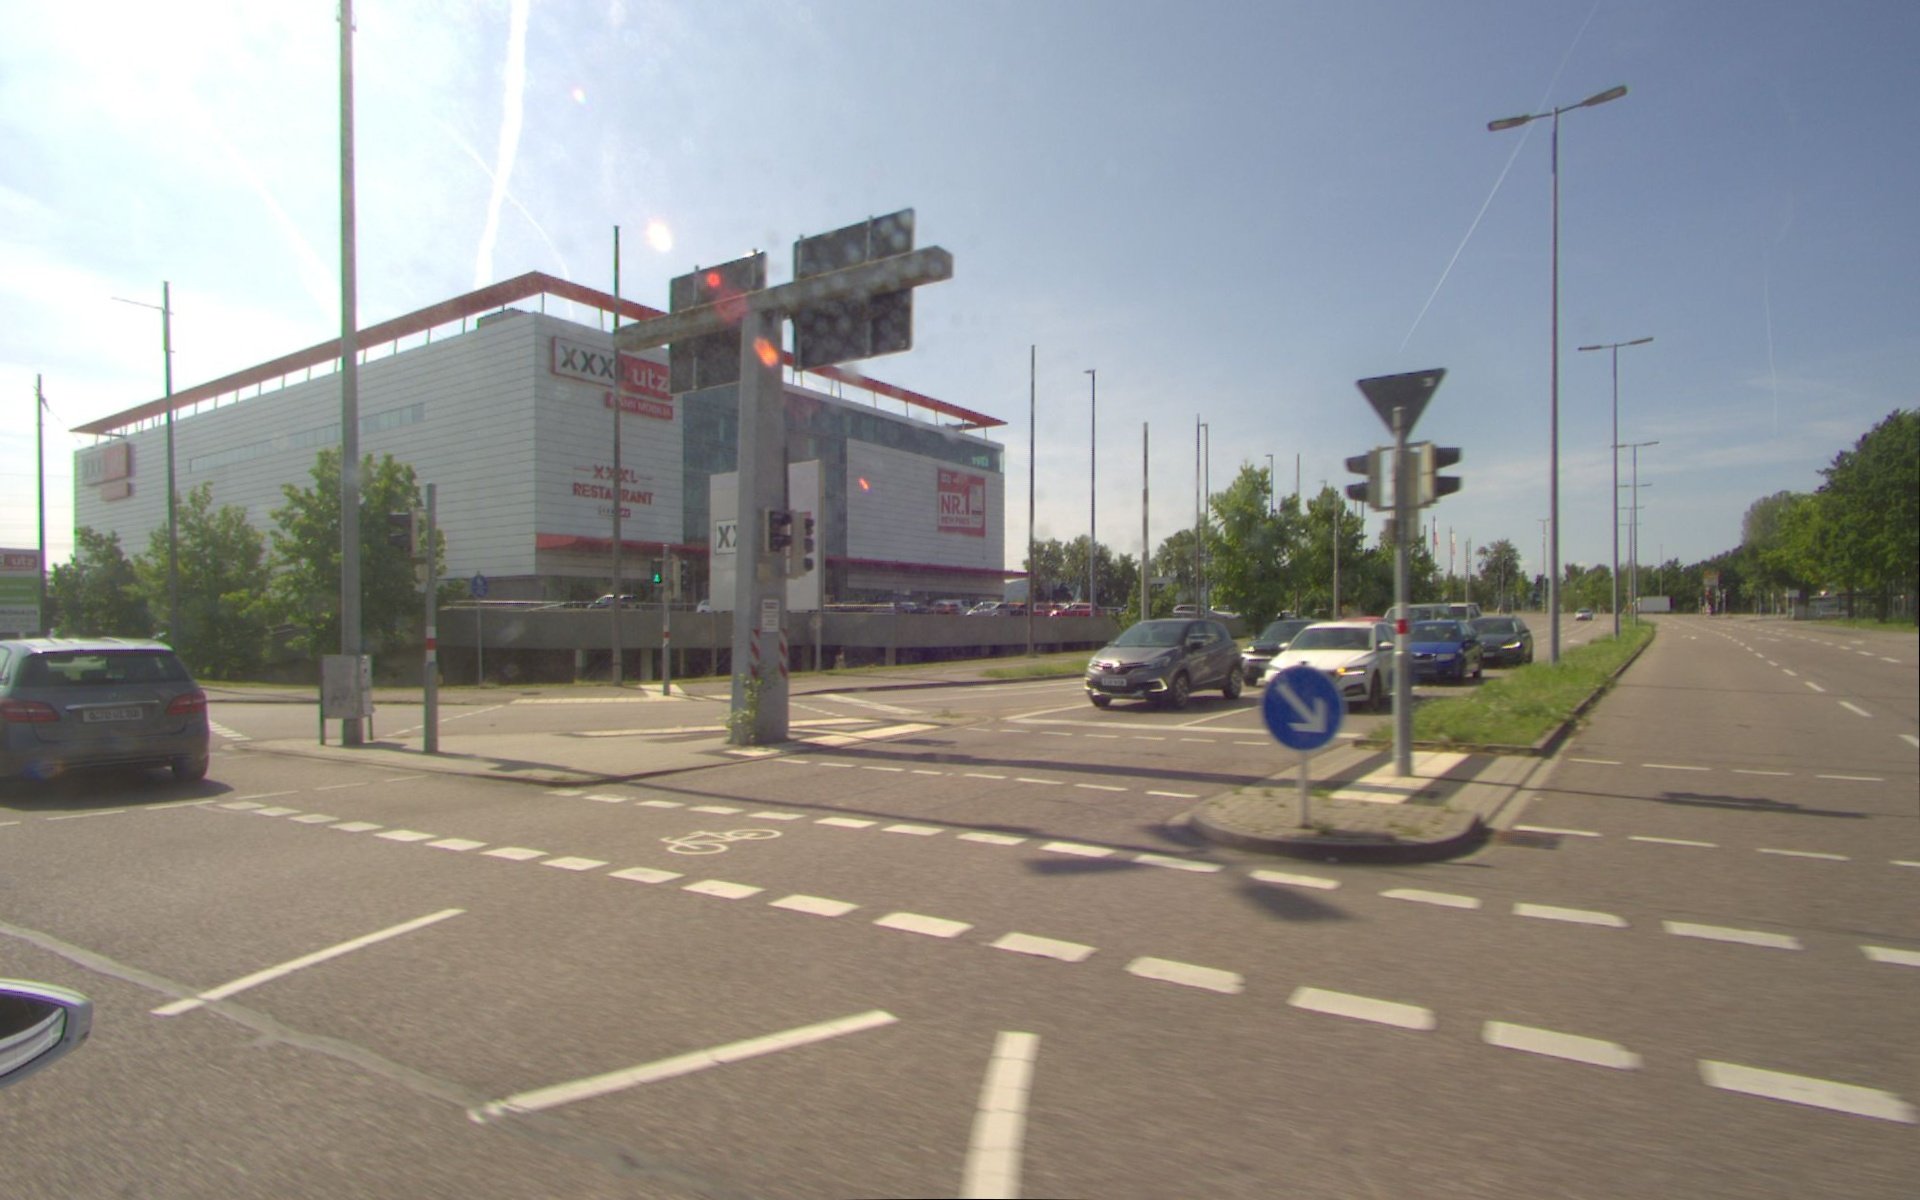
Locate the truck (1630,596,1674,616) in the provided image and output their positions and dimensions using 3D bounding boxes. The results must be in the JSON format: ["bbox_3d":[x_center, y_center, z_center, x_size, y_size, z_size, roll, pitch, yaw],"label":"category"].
[{"bbox_3d":[117.660,1.035,170.353,5.892,3.064,1.991,-2,-4,32],"label":"truck"}]

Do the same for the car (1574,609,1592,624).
[{"bbox_3d":[78.691,2.104,126.449,1.858,1.706,3.976,-1,0,33],"label":"car"}]

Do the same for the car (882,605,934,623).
[{"bbox_3d":[-4.380,1.182,83.884,4.144,1.438,1.731,-1,-1,35],"label":"car"}]

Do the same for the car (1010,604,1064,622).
[{"bbox_3d":[6.360,1.096,82.718,4.144,1.438,1.680,-1,-1,35],"label":"car"}]

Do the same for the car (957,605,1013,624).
[{"bbox_3d":[1.901,1.148,76.651,4.144,1.438,1.680,-1,-1,35],"label":"car"}]

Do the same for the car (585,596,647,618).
[{"bbox_3d":[-22.850,0.484,66.469,4.144,1.438,1.766,-1,-1,35],"label":"car"}]

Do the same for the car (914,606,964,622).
[{"bbox_3d":[-1.876,1.243,88.336,4.144,1.438,1.785,-1,-1,35],"label":"car"}]

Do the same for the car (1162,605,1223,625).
[{"bbox_3d":[17.230,1.111,74.247,4.144,1.438,1.680,-1,-1,35],"label":"car"}]

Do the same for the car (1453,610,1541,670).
[{"bbox_3d":[15.857,1.161,29.489,1.663,1.641,4.103,-1,-2,37],"label":"car"}]

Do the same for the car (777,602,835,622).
[{"bbox_3d":[-11.416,0.928,74.328,4.144,1.438,1.867,-1,-1,35],"label":"car"}]

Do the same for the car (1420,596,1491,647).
[{"bbox_3d":[20.720,0.927,41.768,1.889,1.960,4.761,-2,-2,35],"label":"car"}]

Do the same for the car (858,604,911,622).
[{"bbox_3d":[-6.211,1.106,82.062,4.143,1.438,1.800,-1,-1,35],"label":"car"}]

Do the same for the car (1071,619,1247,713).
[{"bbox_3d":[3.838,1.159,18.829,1.785,1.578,3.872,-1,-2,36],"label":"car"}]

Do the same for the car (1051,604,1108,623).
[{"bbox_3d":[9.274,1.100,77.978,4.051,1.438,1.784,-1,-1,33],"label":"car"}]

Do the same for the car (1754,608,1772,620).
[{"bbox_3d":[105.897,1.813,132.092,1.619,1.555,3.893,-1,-1,35],"label":"car"}]

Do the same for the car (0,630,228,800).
[{"bbox_3d":[-9.847,1.139,11.130,4.088,1.558,1.767,-2,-3,39],"label":"car"}]

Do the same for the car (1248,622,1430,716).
[{"bbox_3d":[6.964,1.146,18.070,1.933,1.444,4.703,-2,-2,35],"label":"car"}]

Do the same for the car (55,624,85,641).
[{"bbox_3d":[-97.085,3.491,109.167,4.040,1.774,1.668,0,-2,37],"label":"car"}]

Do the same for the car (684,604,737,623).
[{"bbox_3d":[-18.884,1.035,75.815,3.857,1.438,1.683,-1,-1,30],"label":"car"}]

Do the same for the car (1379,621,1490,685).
[{"bbox_3d":[11.165,1.200,23.440,1.701,1.359,4.034,-2,-2,35],"label":"car"}]

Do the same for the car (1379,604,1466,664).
[{"bbox_3d":[16.679,1.203,35.992,1.937,2.001,4.660,-3,-2,36],"label":"car"}]

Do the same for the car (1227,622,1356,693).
[{"bbox_3d":[8.107,1.327,24.272,1.883,1.528,4.017,-2,-1,35],"label":"car"}]

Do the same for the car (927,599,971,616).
[{"bbox_3d":[-1.080,0.783,99.050,4.144,1.641,1.680,-1,-1,35],"label":"car"}]

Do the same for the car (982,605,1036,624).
[{"bbox_3d":[3.851,1.135,78.519,3.956,1.438,1.735,-1,-1,35],"label":"car"}]

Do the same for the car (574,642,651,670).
[{"bbox_3d":[-20.132,3.224,58.099,1.772,1.542,4.110,0,-3,28],"label":"car"}]

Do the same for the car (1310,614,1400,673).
[{"bbox_3d":[11.432,1.220,28.883,1.578,1.596,3.459,0,-1,36],"label":"car"}]

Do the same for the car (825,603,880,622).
[{"bbox_3d":[-8.418,0.986,78.234,4.144,1.438,1.895,-1,-1,35],"label":"car"}]
